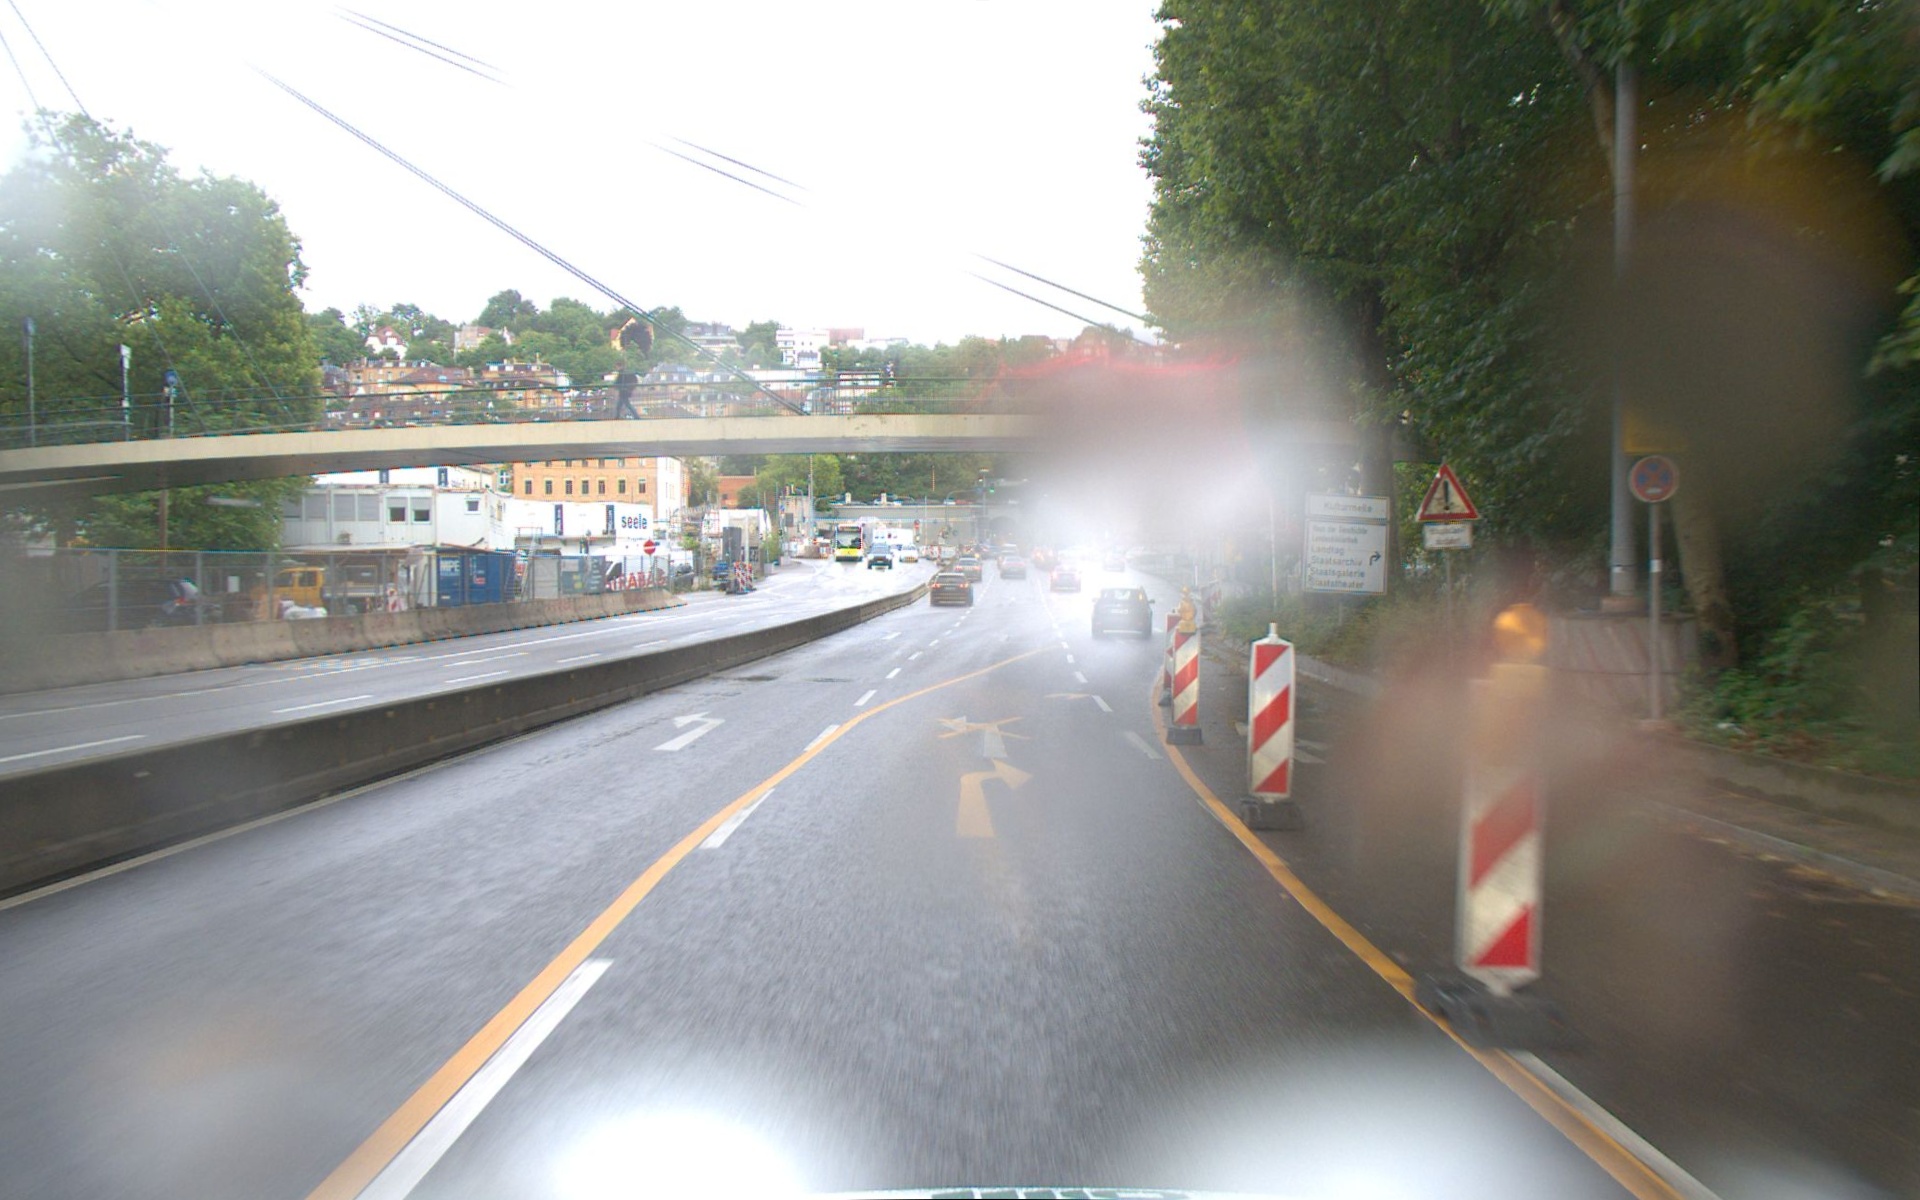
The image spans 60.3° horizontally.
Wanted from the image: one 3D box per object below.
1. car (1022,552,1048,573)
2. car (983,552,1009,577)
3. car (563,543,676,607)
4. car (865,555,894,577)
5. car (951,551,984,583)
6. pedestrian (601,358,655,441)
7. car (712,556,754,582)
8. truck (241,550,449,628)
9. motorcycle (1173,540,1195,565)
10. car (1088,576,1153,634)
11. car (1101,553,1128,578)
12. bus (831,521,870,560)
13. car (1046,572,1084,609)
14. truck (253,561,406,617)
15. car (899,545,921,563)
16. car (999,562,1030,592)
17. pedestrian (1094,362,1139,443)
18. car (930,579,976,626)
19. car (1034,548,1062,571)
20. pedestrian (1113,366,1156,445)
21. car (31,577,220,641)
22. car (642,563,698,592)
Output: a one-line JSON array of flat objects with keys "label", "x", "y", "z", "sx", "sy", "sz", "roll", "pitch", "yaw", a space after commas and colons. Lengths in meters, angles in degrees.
[{"label": "car", "x": 6.480, "y": -3.231, "z": 143.046, "sx": 1.953, "sy": 1.728, "sz": 3.999, "roll": -1, "pitch": 0, "yaw": -1}, {"label": "car", "x": 2.947, "y": -2.922, "z": 136.388, "sx": 1.953, "sy": 1.902, "sz": 4.000, "roll": -1, "pitch": 0, "yaw": 0}, {"label": "car", "x": -16.384, "y": -1.199, "z": 80.047, "sx": 1.955, "sy": 2.925, "sz": 6.044, "roll": -1, "pitch": 0, "yaw": 28}, {"label": "car", "x": -6.409, "y": -2.744, "z": 132.383, "sx": 2.039, "sy": 1.659, "sz": 4.853, "roll": -1, "pitch": 2, "yaw": 0}, {"label": "car", "x": 0.508, "y": -2.187, "z": 110.331, "sx": 1.952, "sy": 2.049, "sz": 4.002, "roll": -1, "pitch": 0, "yaw": 3}, {"label": "pedestrian", "x": -9.106, "y": -5.493, "z": 45.431, "sx": 1.123, "sy": 2.096, "sz": 1.060, "roll": -1, "pitch": 0, "yaw": 9}, {"label": "car", "x": -15.273, "y": -2.109, "z": 111.452, "sx": 1.951, "sy": 1.650, "sz": 4.004, "roll": 0, "pitch": 3, "yaw": 5}, {"label": "truck", "x": -21.024, "y": -0.365, "z": 56.863, "sx": 6.156, "sy": 2.495, "sz": 2.690, "roll": -1, "pitch": 0, "yaw": -6}, {"label": "motorcycle", "x": 19.547, "y": -4.161, "z": 144.400, "sx": 1.757, "sy": 2.048, "sz": 3.816, "roll": 0, "pitch": 2, "yaw": 5}, {"label": "car", "x": 4.699, "y": 0.130, "z": 48.151, "sx": 1.774, "sy": 1.553, "sz": 4.003, "roll": -1, "pitch": 0, "yaw": 6}, {"label": "car", "x": 12.977, "y": -2.893, "z": 139.038, "sx": 1.952, "sy": 2.048, "sz": 4.001, "roll": 0, "pitch": 1, "yaw": 0}, {"label": "bus", "x": -9.831, "y": -5.336, "z": 149.765, "sx": 2.748, "sy": 3.240, "sz": 8.809, "roll": -1, "pitch": 1, "yaw": 1}, {"label": "car", "x": 6.174, "y": -0.546, "z": 97.512, "sx": 2.061, "sy": 2.086, "sz": 4.000, "roll": -1, "pitch": 0, "yaw": 1}, {"label": "truck", "x": -24.664, "y": -0.425, "z": 64.855, "sx": 5.143, "sy": 2.049, "sz": 2.162, "roll": -1, "pitch": 1, "yaw": -3}, {"label": "car", "x": -4.490, "y": -4.120, "z": 148.620, "sx": 1.673, "sy": 1.515, "sz": 3.451, "roll": -1, "pitch": 0, "yaw": 2}, {"label": "car", "x": 3.863, "y": -1.601, "z": 117.564, "sx": 2.009, "sy": 2.049, "sz": 4.000, "roll": -1, "pitch": 0, "yaw": 0}, {"label": "pedestrian", "x": 4.370, "y": -5.490, "z": 46.154, "sx": 1.123, "sy": 2.096, "sz": 1.060, "roll": -1, "pitch": 0, "yaw": 9}, {"label": "car", "x": -0.300, "y": 0.118, "z": 75.452, "sx": 1.975, "sy": 2.049, "sz": 4.000, "roll": -1, "pitch": 0, "yaw": 1}, {"label": "car", "x": 7.246, "y": -3.313, "z": 136.695, "sx": 1.953, "sy": 1.728, "sz": 3.999, "roll": -1, "pitch": 0, "yaw": -1}, {"label": "pedestrian", "x": 4.967, "y": -5.520, "z": 47.111, "sx": 1.123, "sy": 2.096, "sz": 1.060, "roll": -1, "pitch": 0, "yaw": 9}, {"label": "car", "x": -23.678, "y": 0.237, "z": 47.075, "sx": 4.340, "sy": 1.656, "sz": 1.956, "roll": -1, "pitch": 1, "yaw": -8}, {"label": "car", "x": -17.096, "y": -1.305, "z": 97.796, "sx": 1.724, "sy": 1.593, "sz": 4.687, "roll": -1, "pitch": 0, "yaw": 10}]
